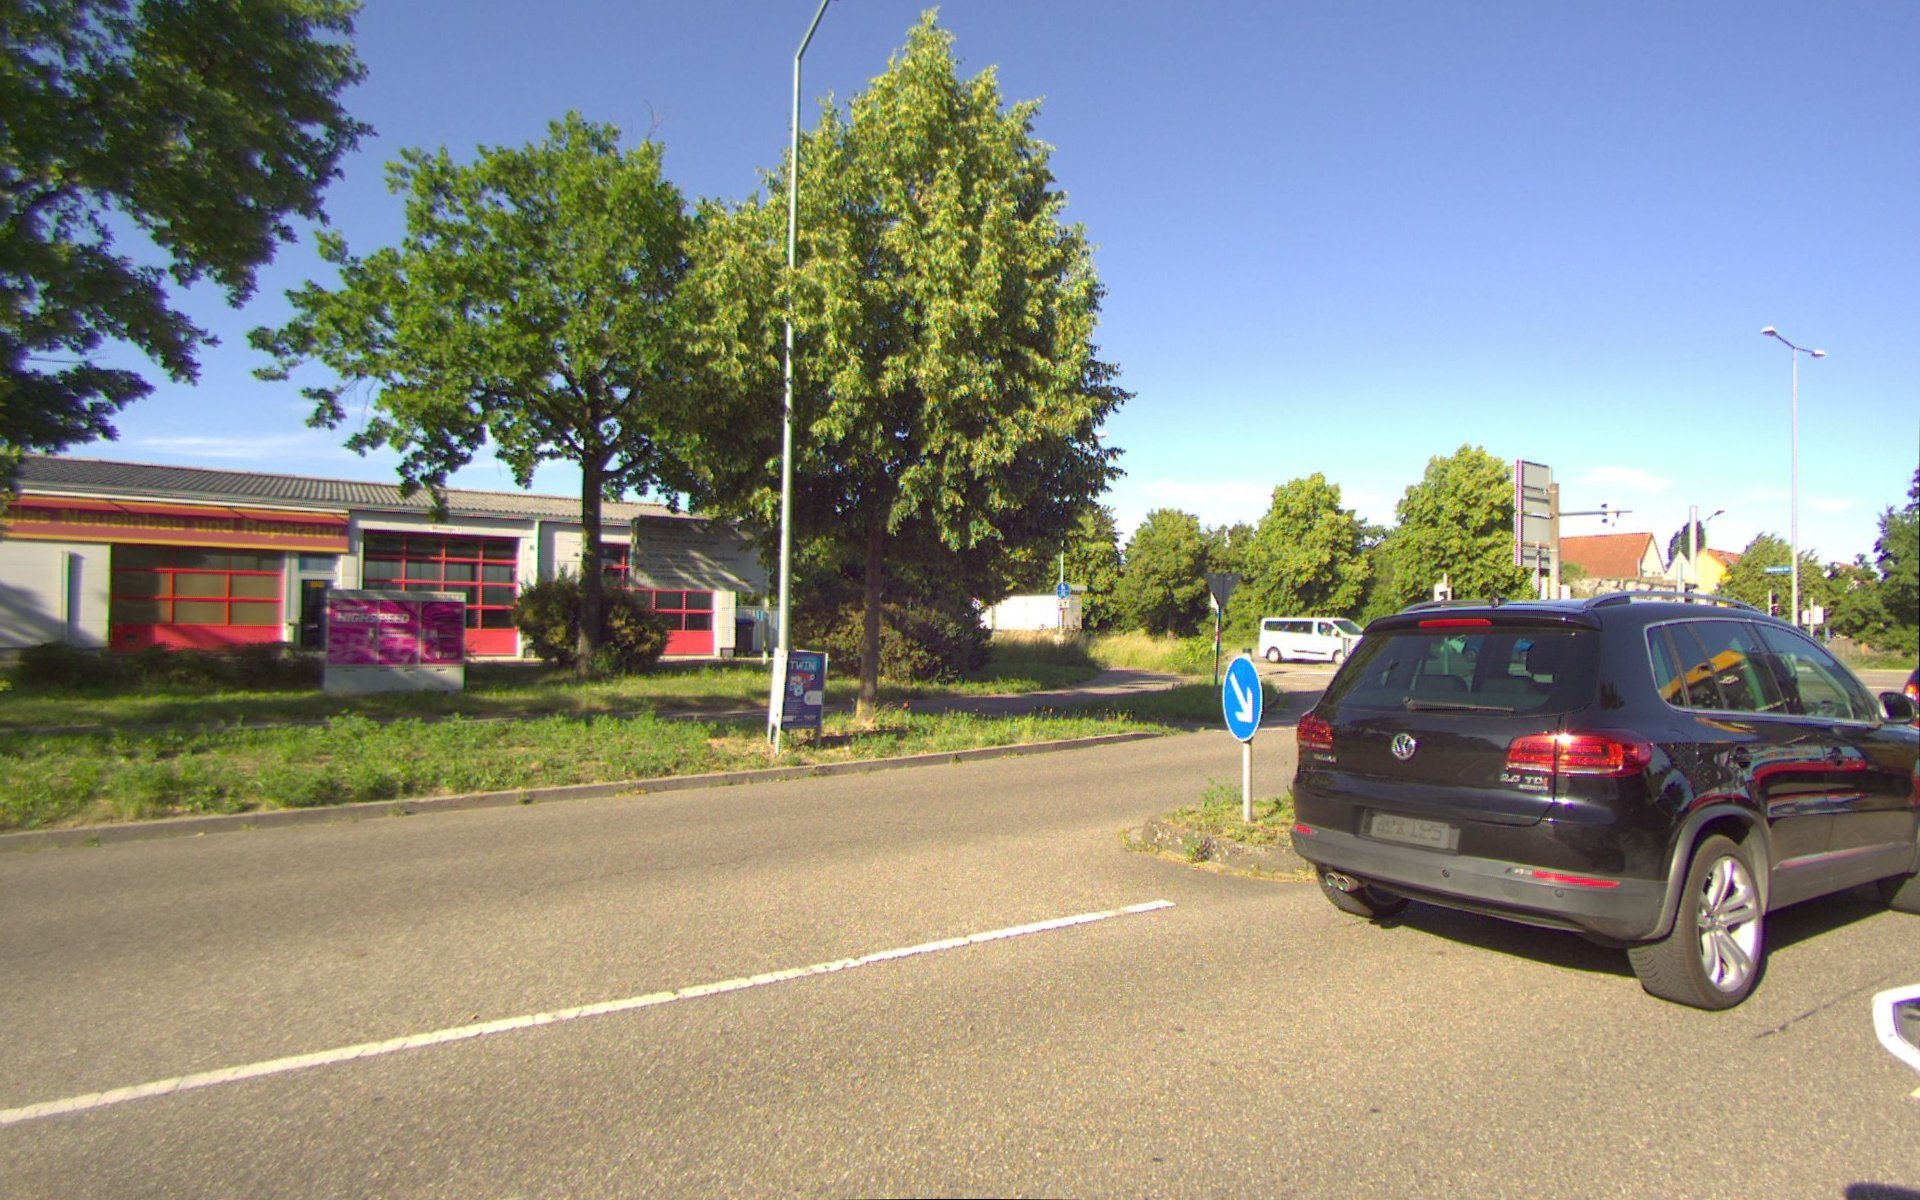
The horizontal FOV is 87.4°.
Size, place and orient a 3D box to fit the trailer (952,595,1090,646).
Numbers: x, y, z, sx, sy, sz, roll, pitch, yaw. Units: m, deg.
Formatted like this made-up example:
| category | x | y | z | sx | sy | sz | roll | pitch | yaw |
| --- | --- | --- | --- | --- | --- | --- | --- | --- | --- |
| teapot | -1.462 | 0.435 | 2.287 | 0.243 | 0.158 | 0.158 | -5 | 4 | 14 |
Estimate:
| category | x | y | z | sx | sy | sz | roll | pitch | yaw |
| --- | --- | --- | --- | --- | --- | --- | --- | --- | --- |
| trailer | 4.897 | 1.718 | 86.170 | 3.407 | 4.066 | 14.556 | 1 | -1 | -36 |

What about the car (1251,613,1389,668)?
| category | x | y | z | sx | sy | sz | roll | pitch | yaw |
| --- | --- | --- | --- | --- | --- | --- | --- | --- | --- |
| car | 15.418 | 1.692 | 43.356 | 2.160 | 2.146 | 5.350 | 2 | -1 | -35 |

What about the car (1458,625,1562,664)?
| category | x | y | z | sx | sy | sz | roll | pitch | yaw |
| --- | --- | --- | --- | --- | --- | --- | --- | --- | --- |
| car | 23.760 | 1.908 | 43.490 | 1.733 | 1.581 | 3.559 | 2 | -2 | -35 |

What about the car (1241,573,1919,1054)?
| category | x | y | z | sx | sy | sz | roll | pitch | yaw |
| --- | --- | --- | --- | --- | --- | --- | --- | --- | --- |
| car | 3.555 | 0.822 | 5.308 | 3.954 | 1.675 | 1.763 | 1 | -3 | -31 |

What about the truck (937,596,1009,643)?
| category | x | y | z | sx | sy | sz | roll | pitch | yaw |
| --- | --- | --- | --- | --- | --- | --- | --- | --- | --- |
| truck | 1.156 | 1.744 | 91.443 | 3.407 | 4.066 | 6.432 | 1 | -1 | -36 |

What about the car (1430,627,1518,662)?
| category | x | y | z | sx | sy | sz | roll | pitch | yaw |
| --- | --- | --- | --- | --- | --- | --- | --- | --- | --- |
| car | 27.283 | 2.353 | 53.377 | 1.691 | 1.634 | 3.781 | 2 | 0 | -35 |

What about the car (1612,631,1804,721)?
| category | x | y | z | sx | sy | sz | roll | pitch | yaw |
| --- | --- | --- | --- | --- | --- | --- | --- | --- | --- |
| car | 14.856 | 1.431 | 19.904 | 4.036 | 1.546 | 1.753 | 0 | -2 | -33 |

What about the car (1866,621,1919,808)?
| category | x | y | z | sx | sy | sz | roll | pitch | yaw |
| --- | --- | --- | --- | --- | --- | --- | --- | --- | --- |
| car | 10.233 | 1.007 | 9.209 | 3.954 | 1.610 | 1.753 | 1 | -3 | -31 |
